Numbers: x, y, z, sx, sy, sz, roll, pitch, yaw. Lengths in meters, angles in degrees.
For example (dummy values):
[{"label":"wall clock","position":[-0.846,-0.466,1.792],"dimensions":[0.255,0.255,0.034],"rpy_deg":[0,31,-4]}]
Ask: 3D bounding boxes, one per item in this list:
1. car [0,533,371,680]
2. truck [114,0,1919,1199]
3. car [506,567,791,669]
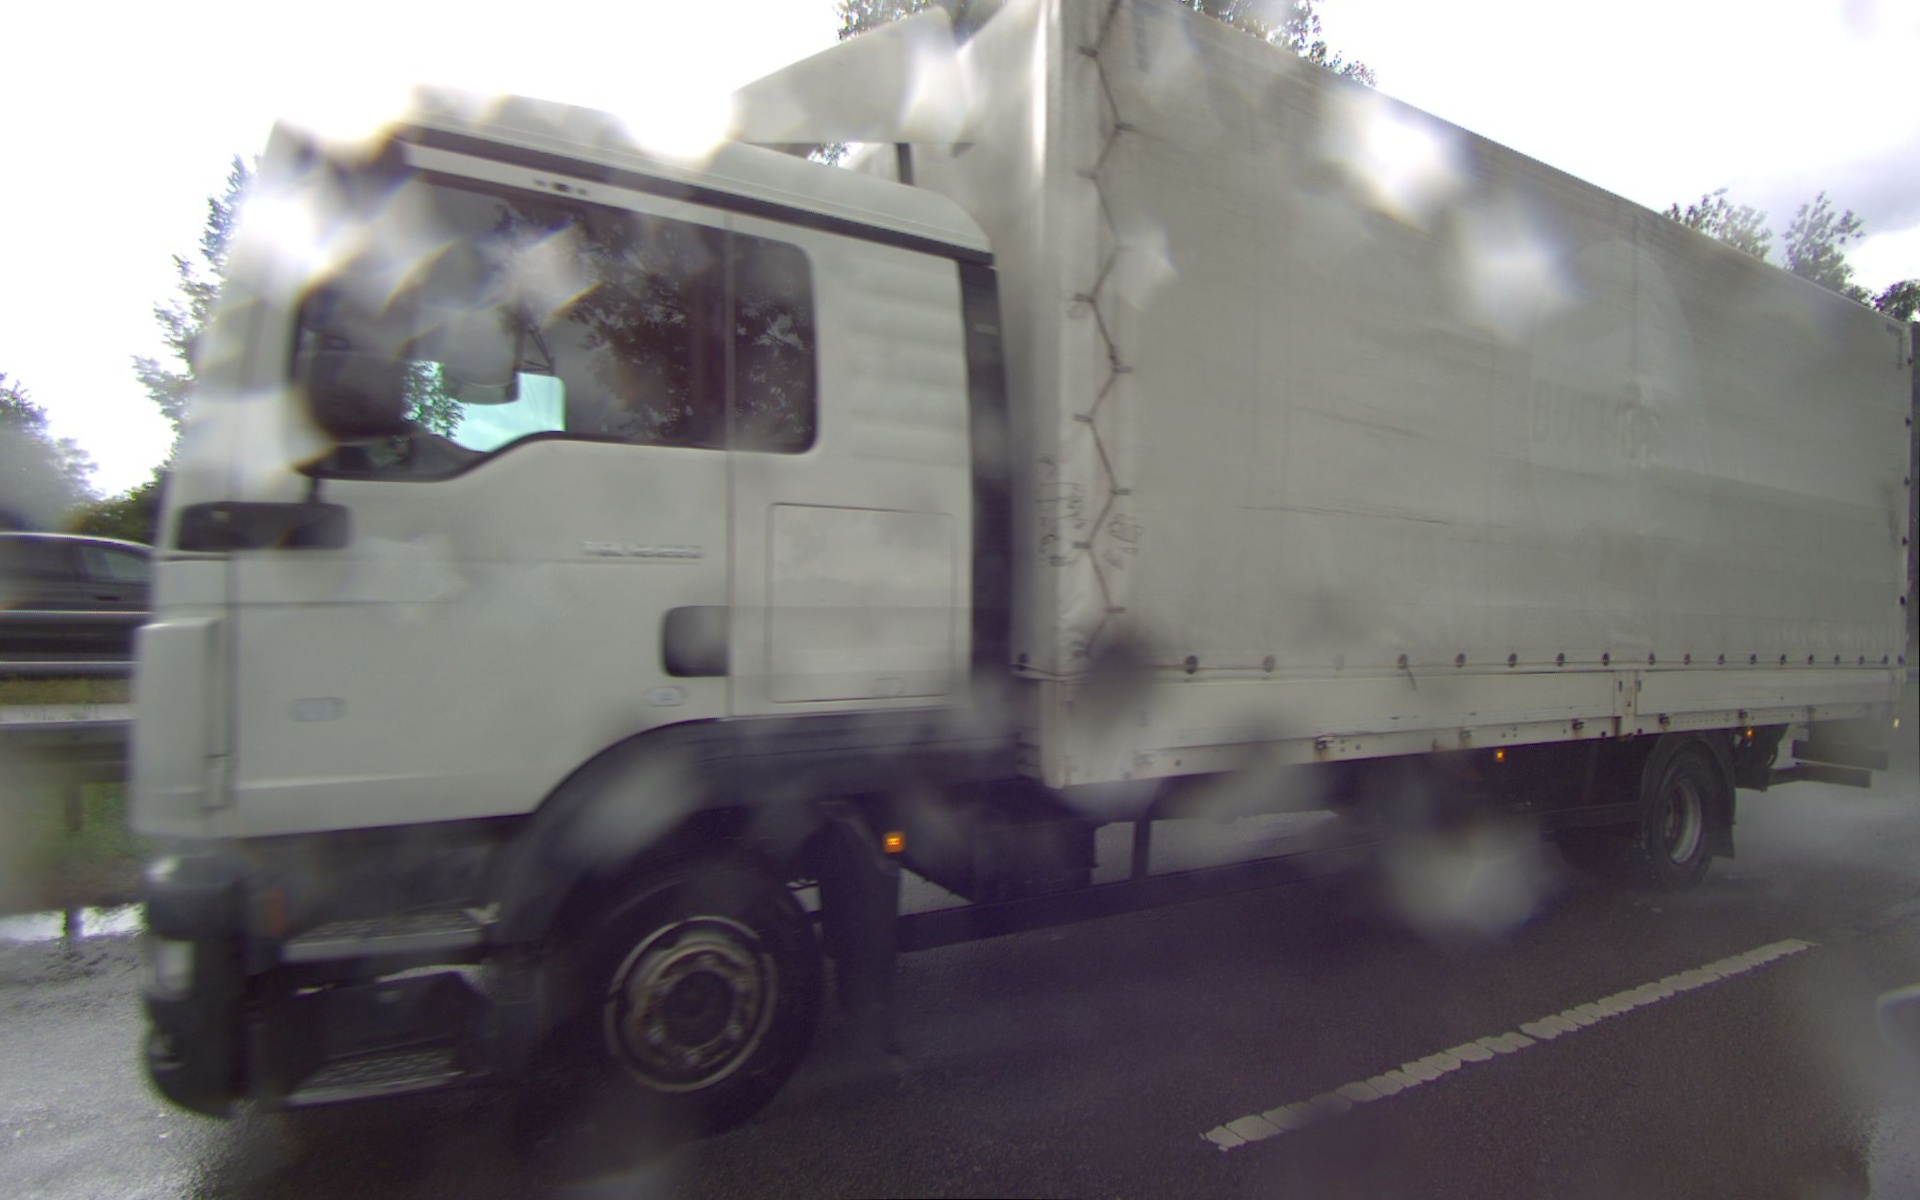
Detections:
[{"label":"car","position":[-9.707,0.074,11.450],"dimensions":[5.071,1.511,1.505],"rpy_deg":[1,0,-35]},{"label":"truck","position":[1.879,-0.289,5.381],"dimensions":[9.448,3.498,2.563],"rpy_deg":[1,0,-32]},{"label":"car","position":[-4.556,0.266,14.957],"dimensions":[3.858,1.348,1.274],"rpy_deg":[1,0,-35]}]
